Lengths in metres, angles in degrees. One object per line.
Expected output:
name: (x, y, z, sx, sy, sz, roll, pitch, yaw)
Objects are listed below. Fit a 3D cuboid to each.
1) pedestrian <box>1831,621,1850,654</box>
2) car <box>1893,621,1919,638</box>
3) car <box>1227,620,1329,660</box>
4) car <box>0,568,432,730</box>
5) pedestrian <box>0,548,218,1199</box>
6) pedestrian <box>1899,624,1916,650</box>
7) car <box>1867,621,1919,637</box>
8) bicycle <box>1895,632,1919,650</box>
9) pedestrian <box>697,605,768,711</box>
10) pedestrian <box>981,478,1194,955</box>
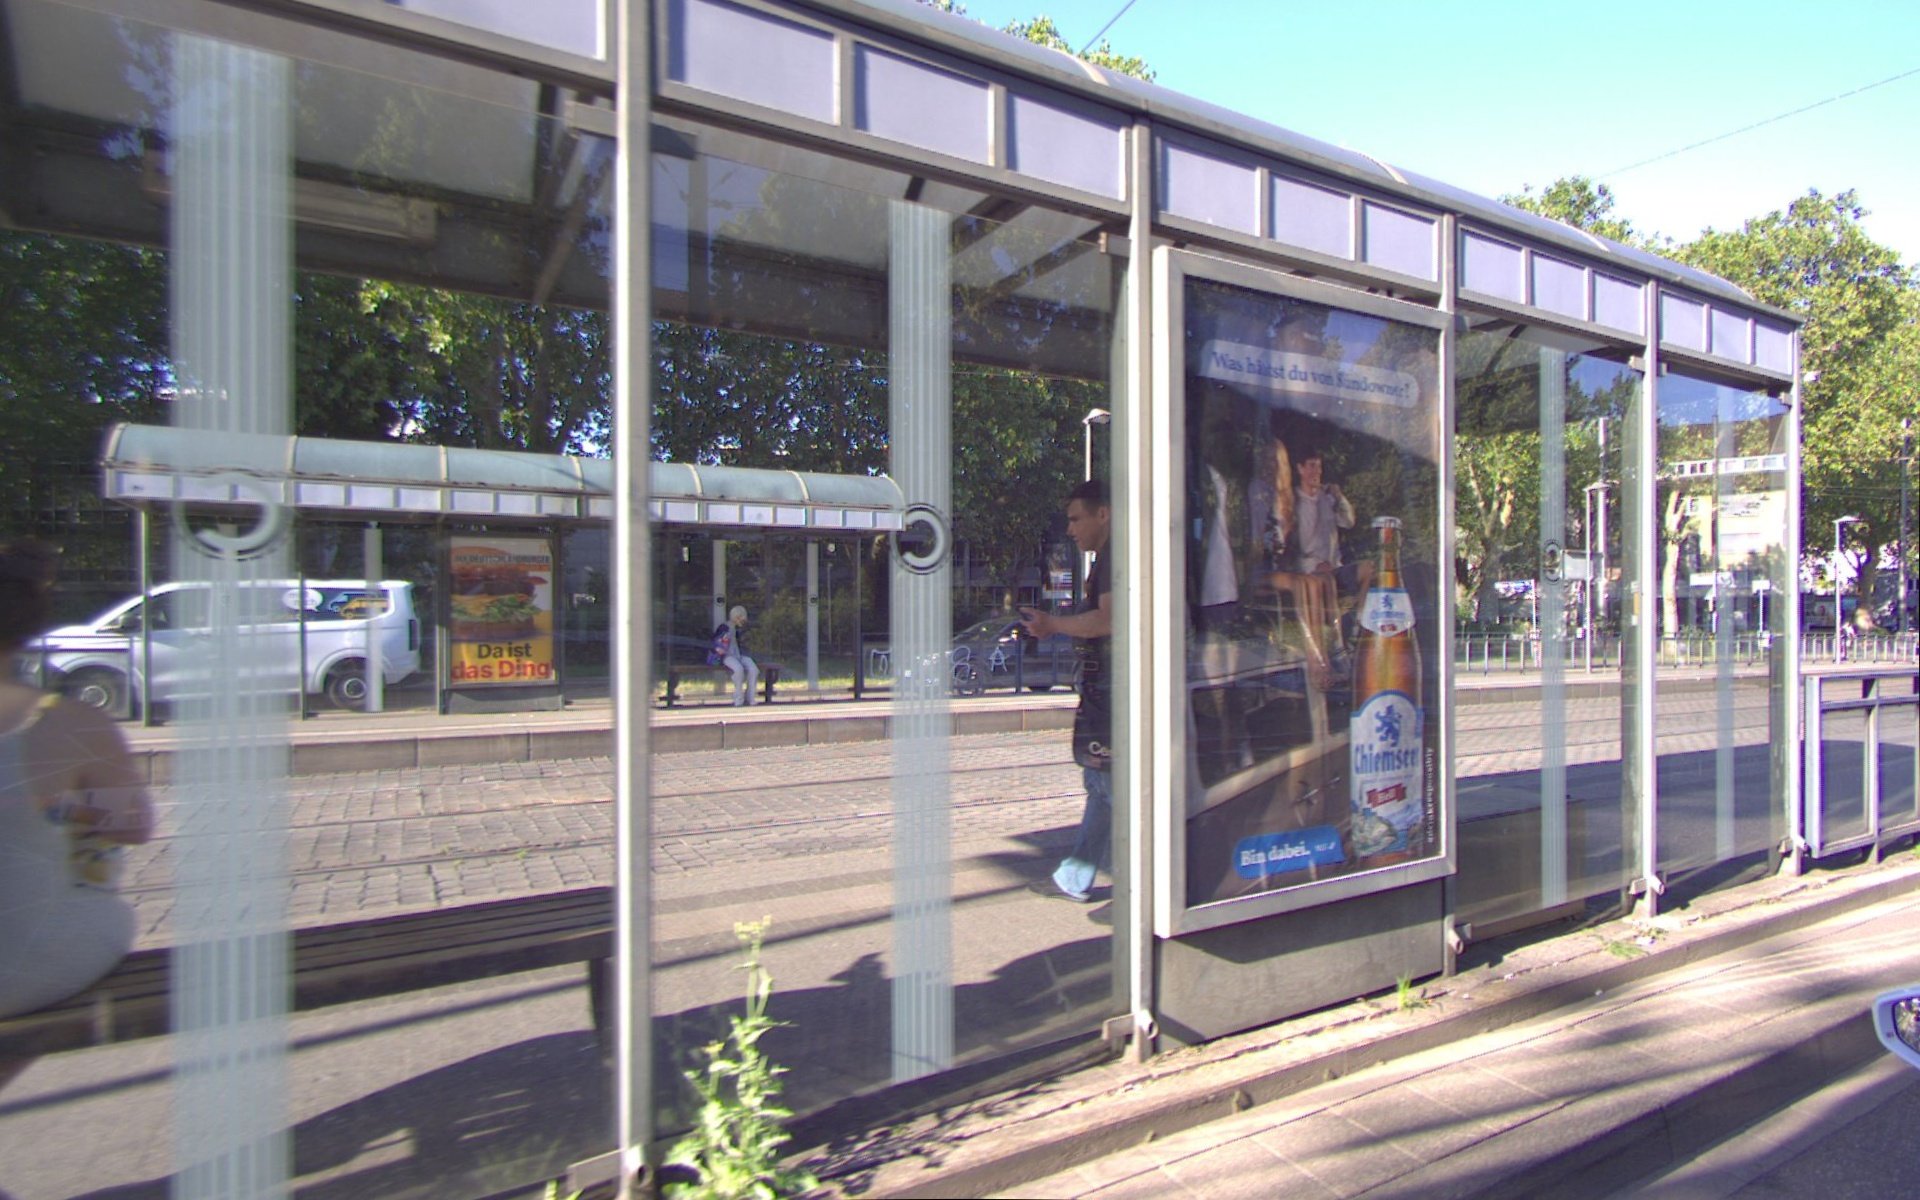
pedestrian: (42.189, 1.783, 48.129, 0.669, 1.572, 0.533, 1, -1, -30)
car: (90.550, 2.796, 94.561, 3.925, 1.530, 1.798, 1, -1, -6)
car: (19.515, 2.468, 61.804, 5.616, 2.366, 2.155, 1, -1, -7)
car: (-11.122, 0.758, 15.583, 5.033, 2.152, 2.056, 2, -3, -32)
pedestrian: (-1.836, 0.574, 1.901, 0.586, 1.326, 0.675, 1, 0, -29)
pedestrian: (62.038, 2.408, 65.765, 0.642, 1.683, 0.645, 1, -1, -27)
car: (90.553, 2.815, 97.346, 3.925, 1.530, 1.798, 1, -1, -6)
bicycle: (62.486, 2.692, 65.760, 0.494, 1.122, 1.788, 1, -1, -27)
pedestrian: (-3.010, 0.761, 13.278, 0.748, 1.342, 0.666, 1, -3, -32)
pedestrian: (0.488, 0.420, 3.970, 0.581, 1.700, 0.593, 1, 0, -25)
